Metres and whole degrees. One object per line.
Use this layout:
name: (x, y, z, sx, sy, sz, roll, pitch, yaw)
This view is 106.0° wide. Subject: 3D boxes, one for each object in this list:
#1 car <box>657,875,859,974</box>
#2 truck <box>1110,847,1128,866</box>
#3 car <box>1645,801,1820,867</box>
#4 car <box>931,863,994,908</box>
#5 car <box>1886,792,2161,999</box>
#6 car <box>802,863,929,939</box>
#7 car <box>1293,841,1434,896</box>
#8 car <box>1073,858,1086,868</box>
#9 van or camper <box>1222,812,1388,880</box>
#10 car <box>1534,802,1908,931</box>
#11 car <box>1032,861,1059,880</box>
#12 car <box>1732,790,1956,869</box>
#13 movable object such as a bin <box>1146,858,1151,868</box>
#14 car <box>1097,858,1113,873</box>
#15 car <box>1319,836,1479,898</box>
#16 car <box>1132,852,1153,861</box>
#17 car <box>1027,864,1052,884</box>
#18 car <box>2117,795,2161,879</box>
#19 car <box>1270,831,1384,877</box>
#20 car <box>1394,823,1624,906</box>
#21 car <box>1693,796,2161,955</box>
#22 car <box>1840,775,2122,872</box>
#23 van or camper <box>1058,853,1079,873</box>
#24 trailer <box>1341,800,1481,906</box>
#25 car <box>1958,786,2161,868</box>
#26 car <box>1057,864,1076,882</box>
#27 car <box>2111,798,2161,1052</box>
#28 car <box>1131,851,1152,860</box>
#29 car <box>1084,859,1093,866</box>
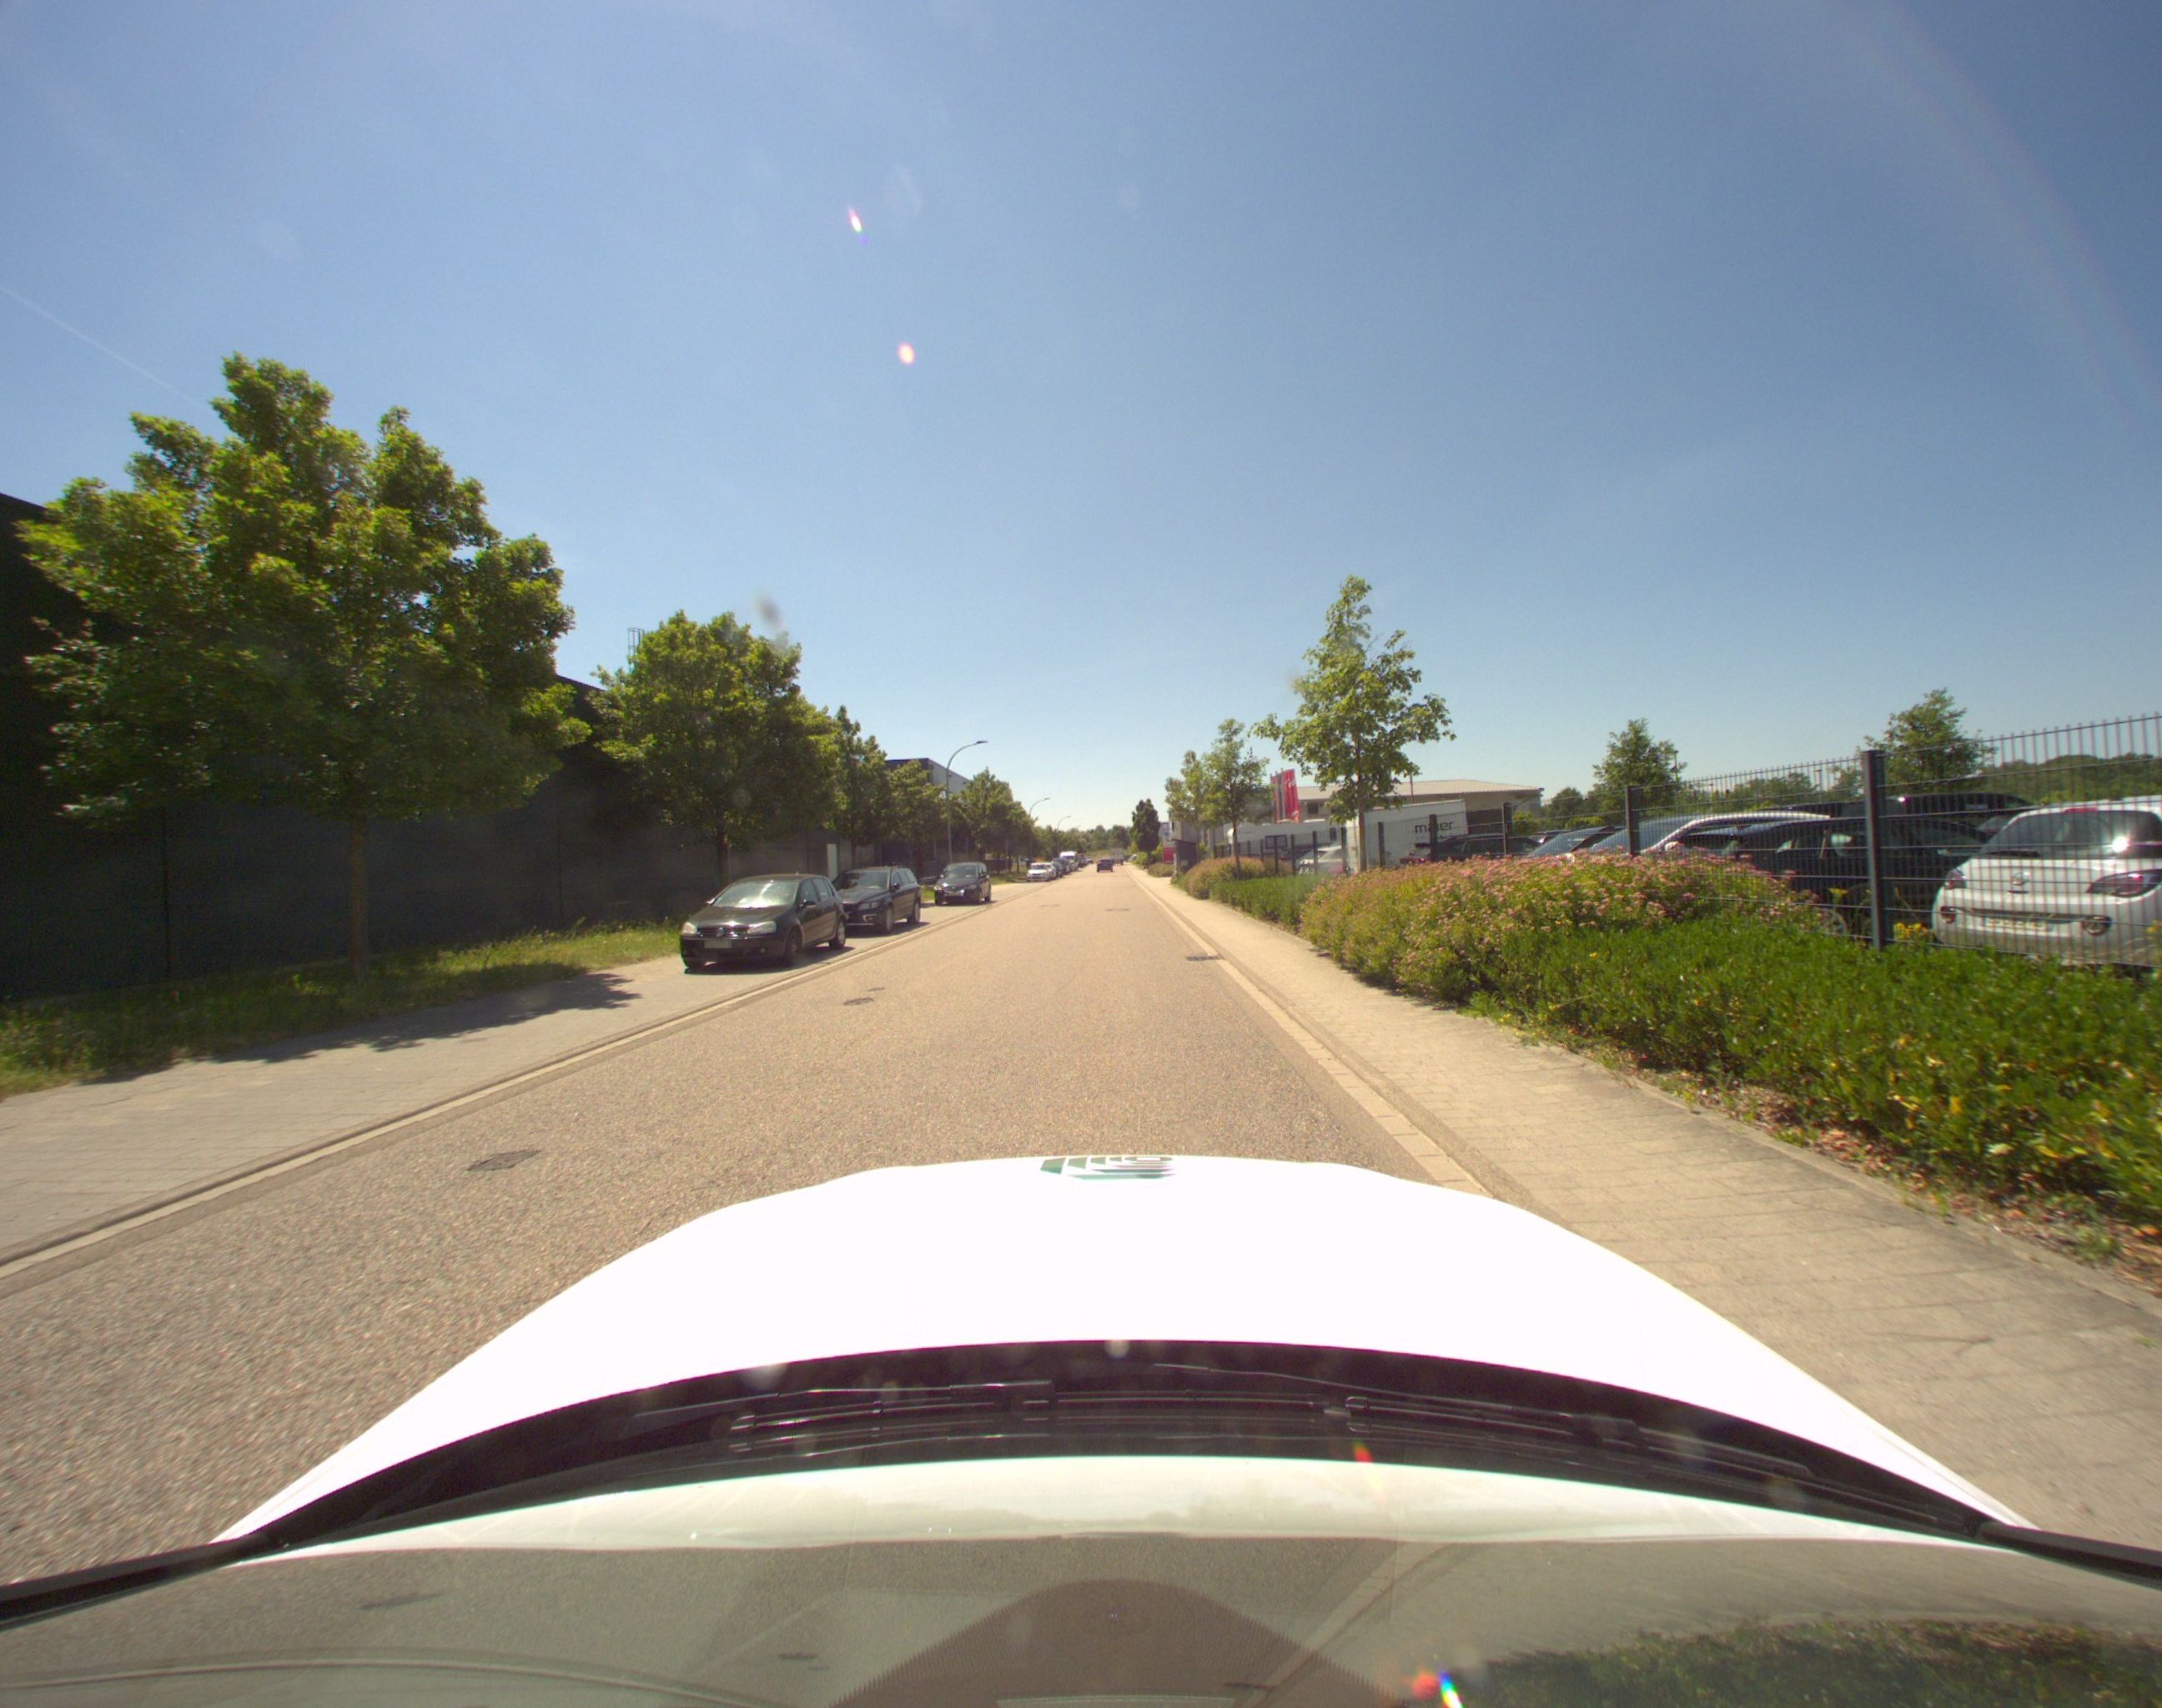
car: (-5.459, 1.122, 14.412, 1.764, 1.431, 4.203, -1, -1, 2)
truck: (6.392, 0.448, 136.727, 2.921, 2.974, 6.423, -1, 0, 3)
car: (20.999, -0.630, 26.378, 4.027, 1.806, 1.919, -4, -1, 1)
car: (-4.656, 1.205, 32.562, 1.764, 1.611, 4.248, -2, 0, 1)
car: (9.617, 0.171, 6.642, 4.264, 1.445, 1.755, -4, -1, 1)
car: (-5.268, 1.084, 20.623, 1.764, 1.611, 4.853, -2, 0, 1)
car: (9.025, 0.454, 26.238, 3.830, 1.440, 1.805, -4, -1, -2)
car: (-0.196, 1.464, 133.264, 1.791, 1.487, 4.257, -2, 0, 4)
van or camper: (10.023, -0.339, 36.952, 6.733, 2.585, 2.636, -3, -1, 1)
car: (9.168, 0.180, 11.940, 3.972, 1.522, 1.823, -3, -1, 1)
car: (-3.004, 1.415, 69.699, 1.792, 1.476, 4.558, -2, 0, 3)
car: (20.069, -0.614, 21.563, 4.027, 1.763, 1.919, -4, -1, 1)
movable object such as a bin: (7.773, 1.034, 93.217, 0.529, 1.052, 0.846, -3, -1, 4)
car: (2.728, 1.251, 92.466, 1.782, 1.623, 3.811, -1, 0, 2)
car: (9.107, 0.361, 23.560, 3.877, 1.475, 1.807, -4, -1, 1)
car: (11.427, 0.485, 151.816, 3.863, 1.750, 1.751, -1, -1, -1)
car: (-3.274, 1.558, 64.439, 1.715, 1.476, 3.857, -2, 0, 0)
car: (19.708, -0.399, 13.063, 3.892, 1.388, 1.724, -4, -1, 1)
car: (10.126, -0.003, 33.721, 4.122, 1.536, 1.809, -4, -1, 1)
car: (9.348, 0.224, 18.062, 4.027, 1.503, 1.919, -4, -1, 1)
car: (9.333, 0.227, 9.128, 3.651, 1.422, 1.645, -3, -1, 1)
car: (19.797, -0.632, 18.070, 4.027, 1.800, 1.919, -4, -1, 1)
van or camper: (-1.556, 1.126, 105.483, 2.069, 2.483, 6.138, -1, 0, 5)
trailer: (8.317, -0.026, 20.676, 2.815, 2.403, 1.418, -4, 0, -2)
car: (20.026, -0.565, 15.813, 4.027, 1.388, 1.724, -4, -1, 1)
car: (-1.544, 1.975, 87.675, 1.792, 1.814, 4.254, -2, 0, 2)
car: (8.295, 0.262, 3.992, 4.329, 1.449, 1.603, -4, -1, 1)
car: (11.475, 0.278, 154.285, 3.863, 1.750, 1.751, -1, -1, -1)
car: (1.668, 1.890, 183.040, 1.791, 1.487, 4.257, -2, 0, 4)
